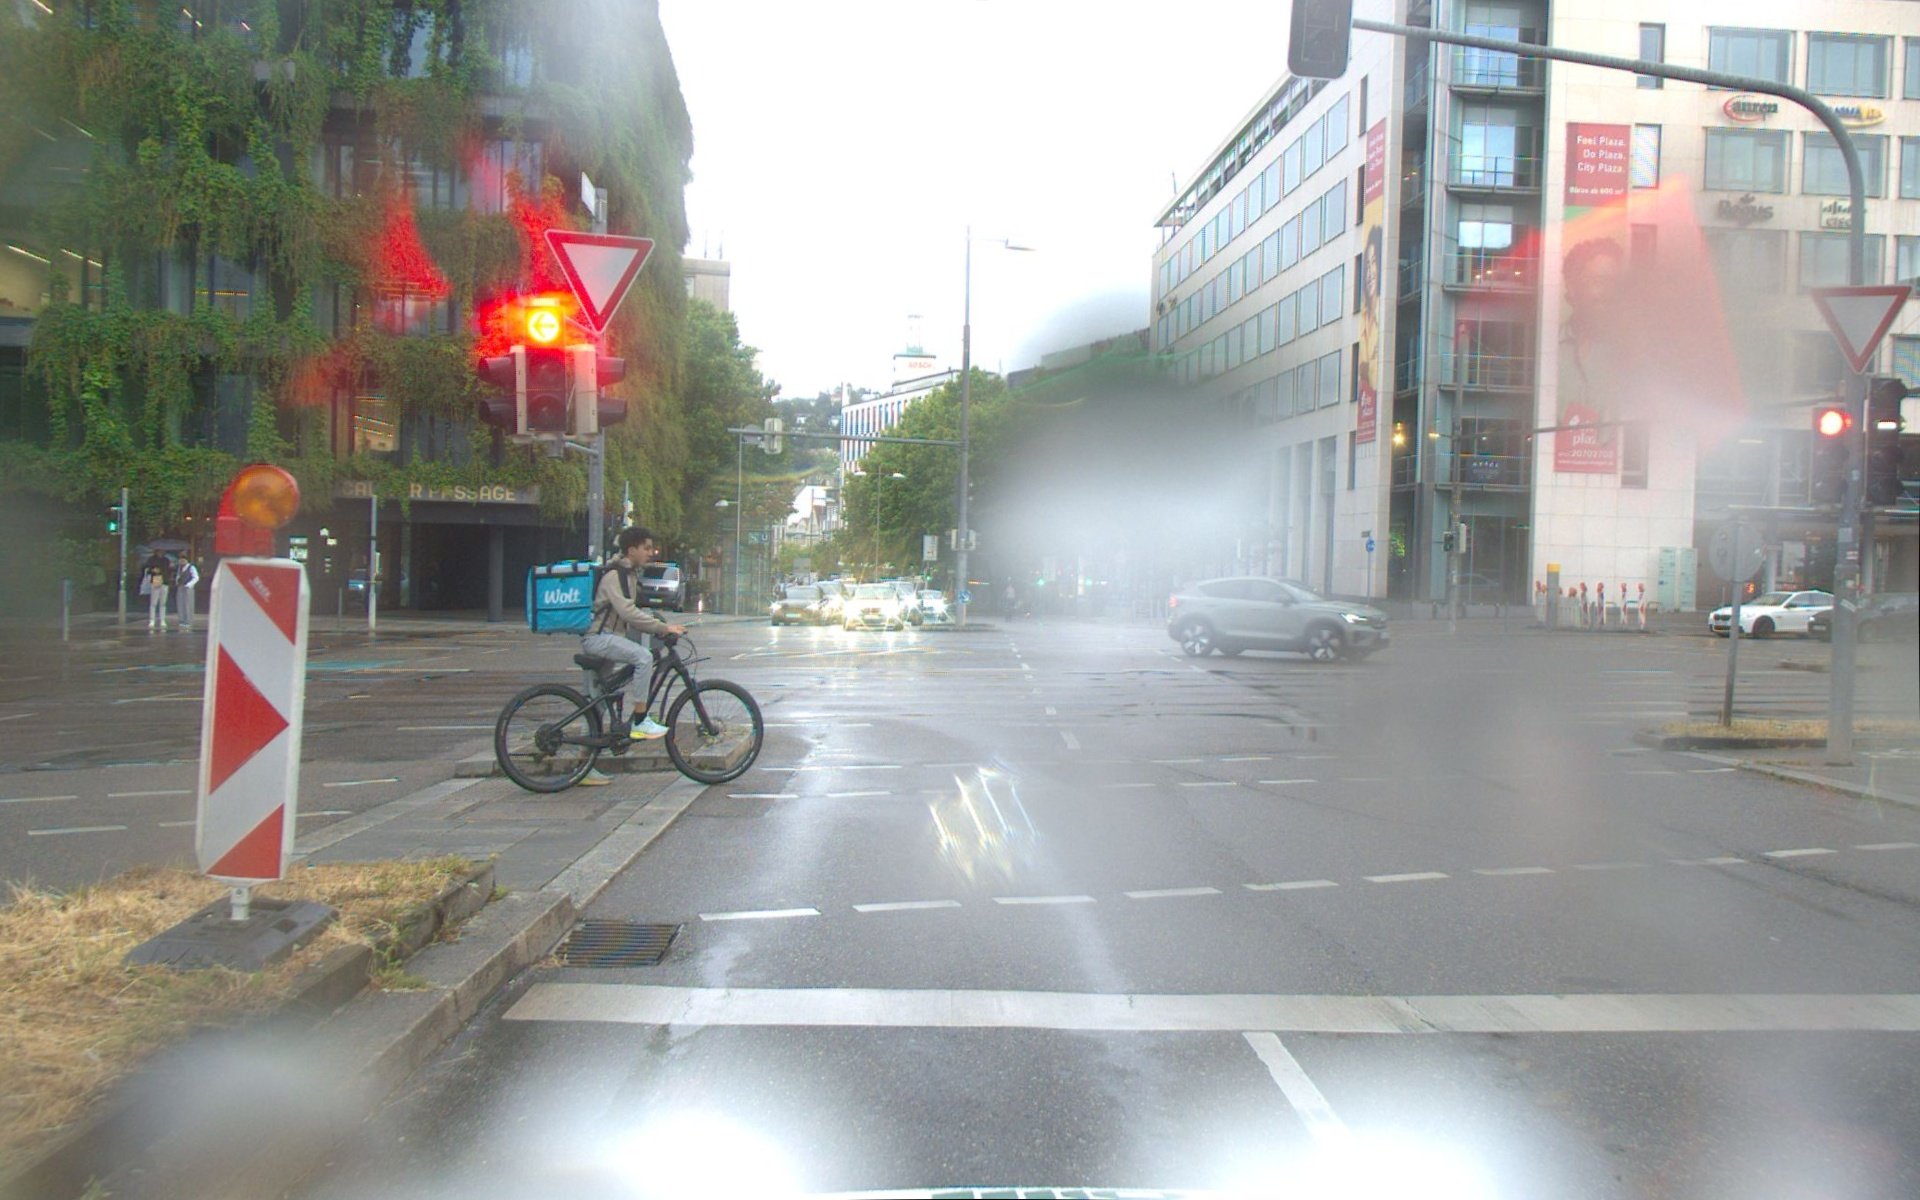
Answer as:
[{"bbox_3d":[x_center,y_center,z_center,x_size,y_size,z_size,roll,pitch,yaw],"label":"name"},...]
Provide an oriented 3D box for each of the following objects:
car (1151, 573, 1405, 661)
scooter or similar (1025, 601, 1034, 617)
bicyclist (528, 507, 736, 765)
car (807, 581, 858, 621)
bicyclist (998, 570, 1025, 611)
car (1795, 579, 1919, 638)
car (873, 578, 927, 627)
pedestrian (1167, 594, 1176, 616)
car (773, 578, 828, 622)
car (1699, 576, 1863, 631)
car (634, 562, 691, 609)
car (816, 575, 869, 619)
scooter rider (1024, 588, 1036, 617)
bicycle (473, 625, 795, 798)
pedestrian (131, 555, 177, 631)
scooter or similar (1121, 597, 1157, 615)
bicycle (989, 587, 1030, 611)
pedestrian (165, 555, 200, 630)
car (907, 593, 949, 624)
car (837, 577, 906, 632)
[{"bbox_3d":[6.190,0.289,32.377,4.462,1.577,1.994,1,1,35],"label":"car"},{"bbox_3d":[4.413,0.575,105.202,0.545,1.024,1.824,0,0,1],"label":"scooter or similar"},{"bbox_3d":[-2.335,0.239,11.755,1.279,1.733,0.841,0,0,-26],"label":"bicyclist"},{"bbox_3d":[-5.127,0.024,65.900,1.821,1.473,4.614,0,1,-7],"label":"car"},{"bbox_3d":[2.556,-0.460,82.103,0.787,2.009,1.097,1,0,-42],"label":"bicyclist"},{"bbox_3d":[26.792,0.241,47.958,4.373,1.626,1.994,1,0,-13],"label":"car"},{"bbox_3d":[-2.276,0.069,61.949,1.925,1.684,4.362,0,2,-4],"label":"car"},{"bbox_3d":[11.338,0.257,88.674,0.346,1.194,0.414,0,0,-12],"label":"pedestrian"},{"bbox_3d":[-5.696,-0.030,59.600,1.819,1.473,4.618,0,1,-4],"label":"car"},{"bbox_3d":[25.451,0.096,51.283,4.378,1.626,1.992,1,0,-16],"label":"car"},{"bbox_3d":[-12.499,-0.618,69.769,1.955,1.928,4.461,1,0,-5],"label":"car"},{"bbox_3d":[-5.200,-0.166,72.777,2.133,1.855,4.637,1,1,-7],"label":"car"},{"bbox_3d":[4.440,0.148,105.286,0.746,1.805,0.796,0,0,0],"label":"scooter rider"},{"bbox_3d":[-2.314,0.749,11.760,2.117,1.122,0.842,0,0,-24],"label":"bicycle"},{"bbox_3d":[-19.267,-0.163,39.544,0.923,1.788,1.163,0,0,-24],"label":"pedestrian"},{"bbox_3d":[8.824,0.309,81.569,1.720,0.894,0.486,0,0,-20],"label":"scooter or similar"},{"bbox_3d":[2.453,-0.066,82.208,0.787,1.136,2.222,1,0,-41],"label":"bicycle"},{"bbox_3d":[-18.717,-0.187,39.832,0.731,1.788,0.969,0,0,-24],"label":"pedestrian"},{"bbox_3d":[-1.658,0.403,83.838,1.954,1.469,4.553,1,1,-3],"label":"car"},{"bbox_3d":[-2.634,0.100,49.977,1.953,1.512,4.463,0,2,-2],"label":"car"}]
